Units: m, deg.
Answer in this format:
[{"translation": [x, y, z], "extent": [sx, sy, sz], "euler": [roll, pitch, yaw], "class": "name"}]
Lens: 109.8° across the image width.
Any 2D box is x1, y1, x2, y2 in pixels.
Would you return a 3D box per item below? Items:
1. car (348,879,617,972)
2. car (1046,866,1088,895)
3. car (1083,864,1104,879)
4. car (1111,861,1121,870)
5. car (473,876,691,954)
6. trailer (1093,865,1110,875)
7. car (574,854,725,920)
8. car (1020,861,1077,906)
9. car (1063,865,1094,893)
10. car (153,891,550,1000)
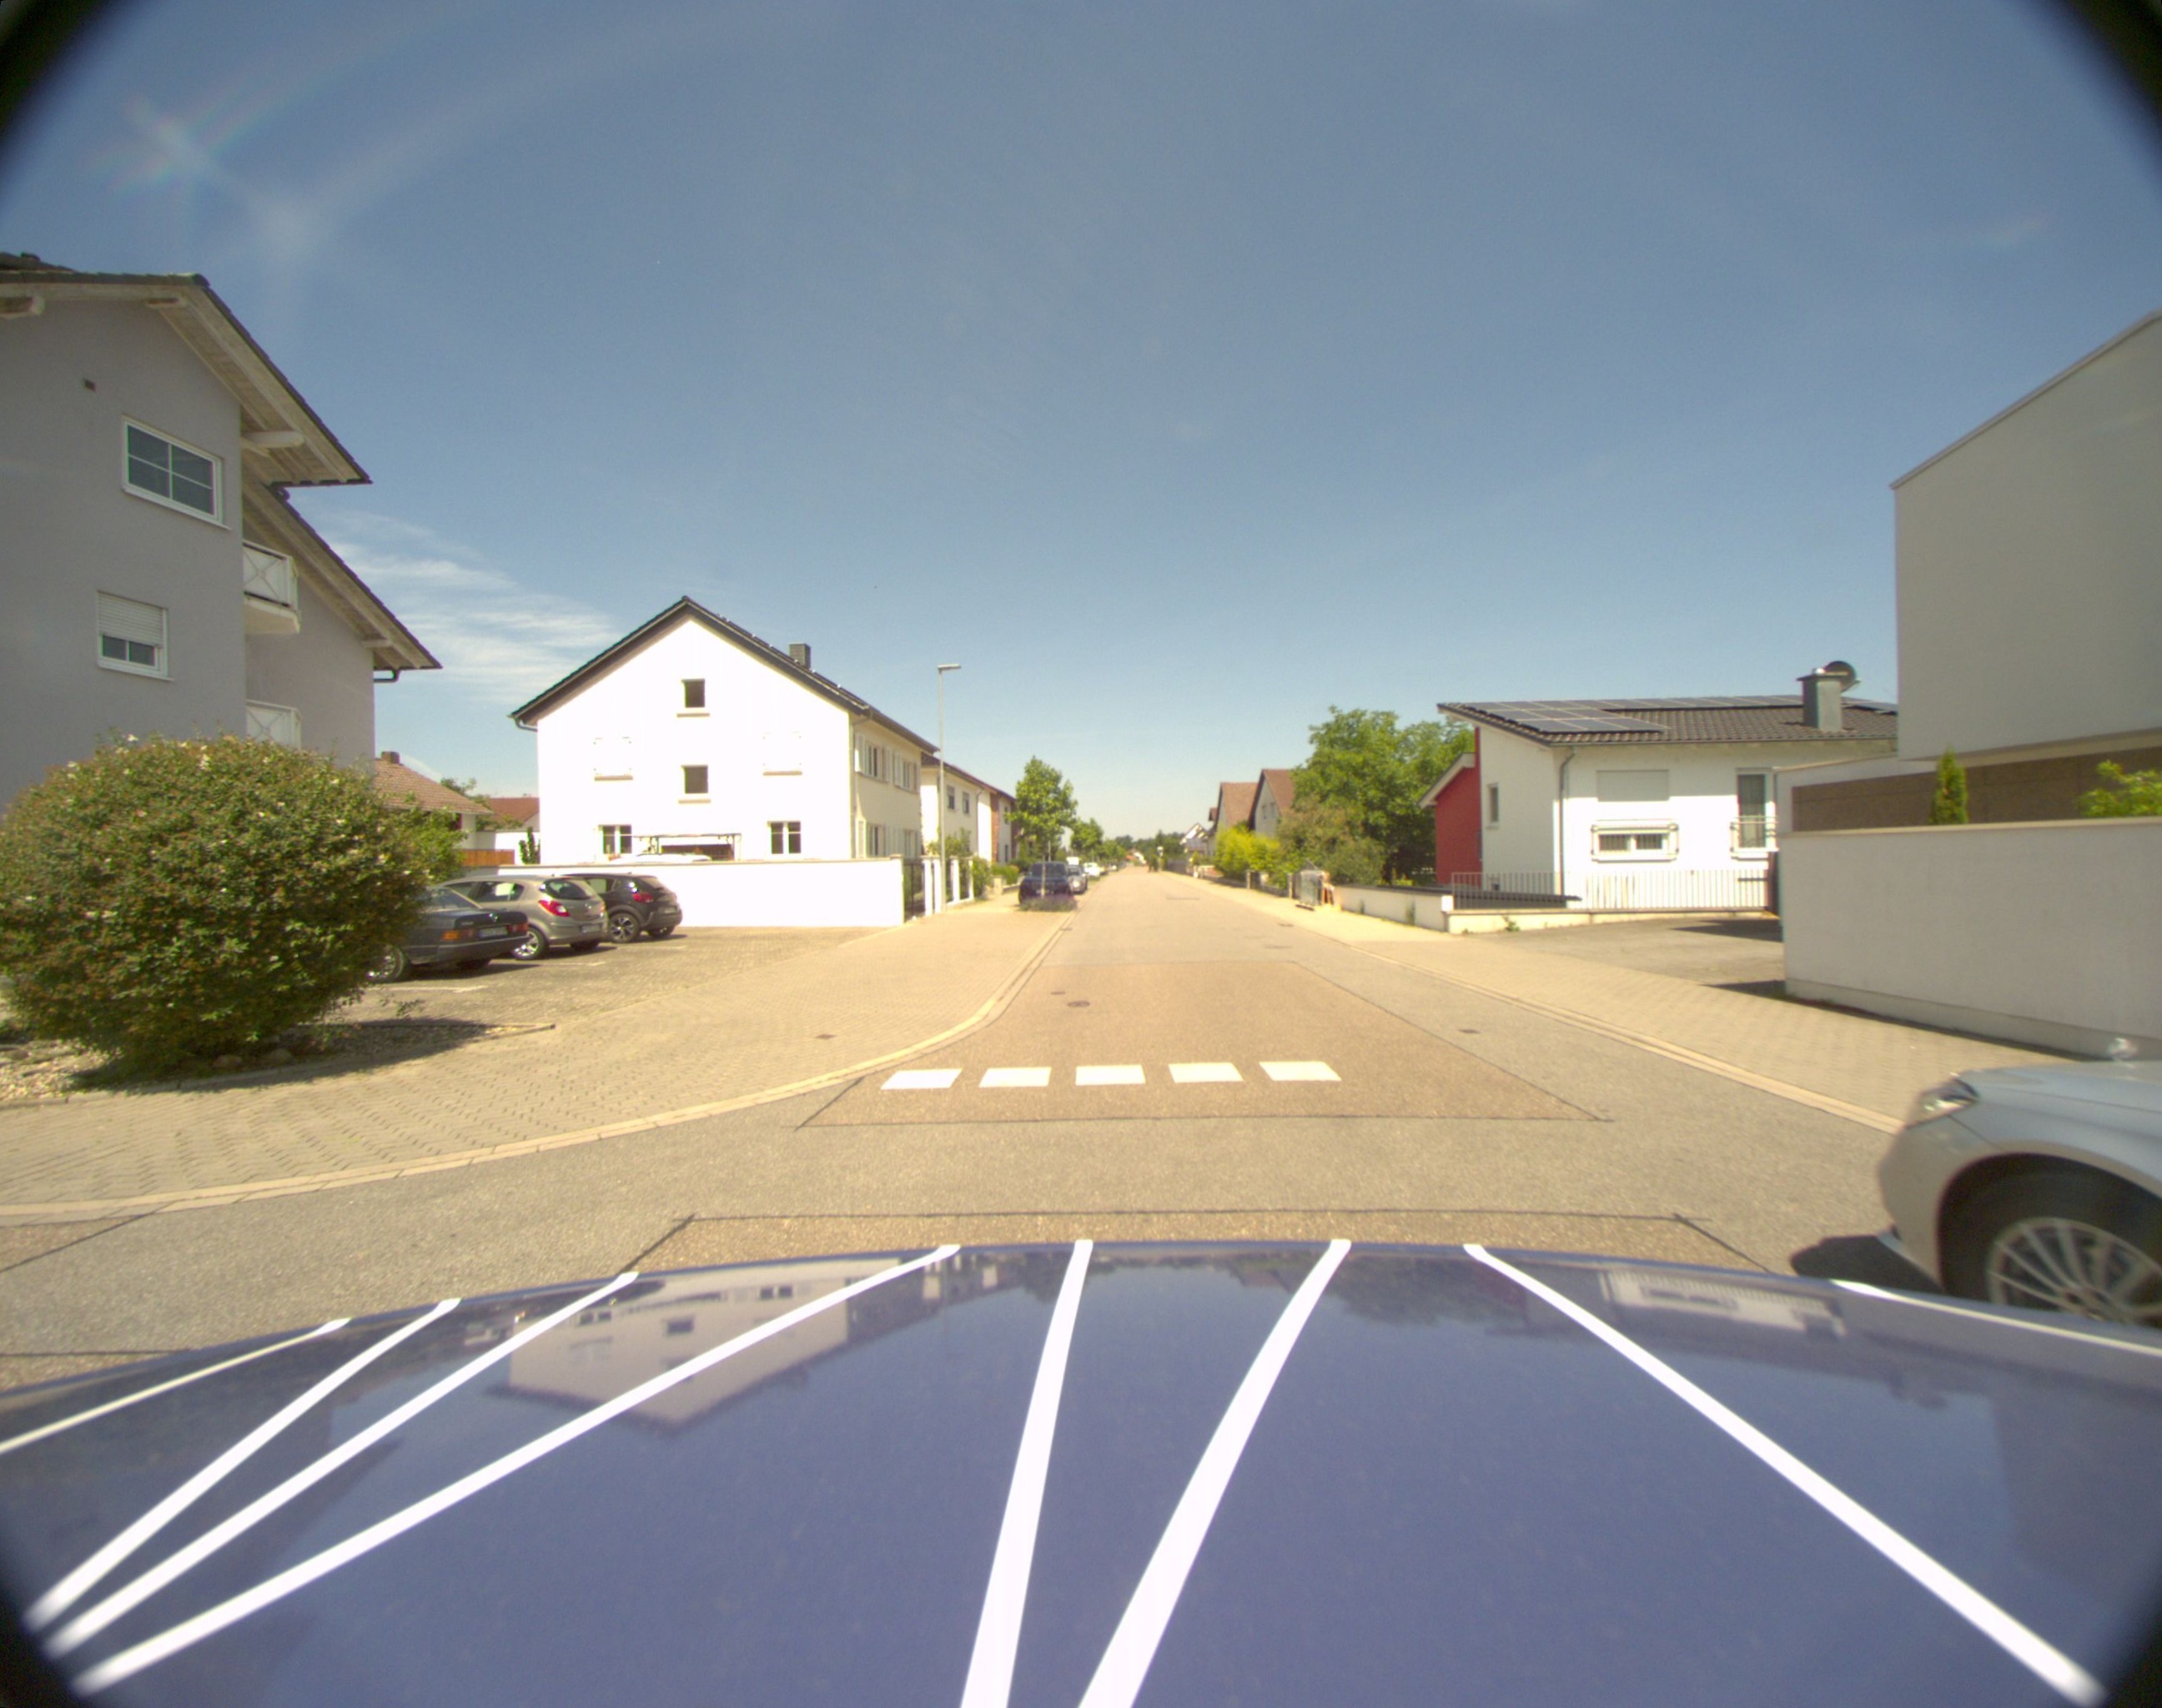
[{"translation": [-10.579, 1.229, 13.623], "extent": [3.453, 1.485, 1.664], "euler": [-1, 0, -1], "class": "car"}, {"translation": [-0.665, 1.340, 39.337], "extent": [1.818, 1.411, 4.094], "euler": [-1, -1, 3], "class": "car"}, {"translation": [1.222, 1.667, 72.456], "extent": [1.818, 1.411, 3.869], "euler": [-1, -1, 2], "class": "car"}, {"translation": [6.454, 2.164, 141.345], "extent": [1.597, 1.630, 3.805], "euler": [-1, 0, 7], "class": "car"}, {"translation": [-10.526, 1.258, 16.244], "extent": [3.510, 1.487, 1.664], "euler": [-1, 0, -3], "class": "car"}, {"translation": [2.370, 1.847, 87.272], "extent": [1.791, 1.052, 2.900], "euler": [-1, -1, 4], "class": "trailer"}, {"translation": [-12.600, 0.948, 22.323], "extent": [3.394, 1.801, 1.772], "euler": [-1, 0, 2], "class": "car"}, {"translation": [-1.220, 1.117, 30.374], "extent": [1.818, 1.646, 4.566], "euler": [-1, -1, 3], "class": "car"}, {"translation": [-0.138, 1.434, 45.361], "extent": [1.746, 1.524, 4.449], "euler": [-1, 0, 1], "class": "car"}, {"translation": [-10.542, 1.284, 11.216], "extent": [4.212, 1.366, 1.664], "euler": [-1, 0, -1], "class": "car"}]
